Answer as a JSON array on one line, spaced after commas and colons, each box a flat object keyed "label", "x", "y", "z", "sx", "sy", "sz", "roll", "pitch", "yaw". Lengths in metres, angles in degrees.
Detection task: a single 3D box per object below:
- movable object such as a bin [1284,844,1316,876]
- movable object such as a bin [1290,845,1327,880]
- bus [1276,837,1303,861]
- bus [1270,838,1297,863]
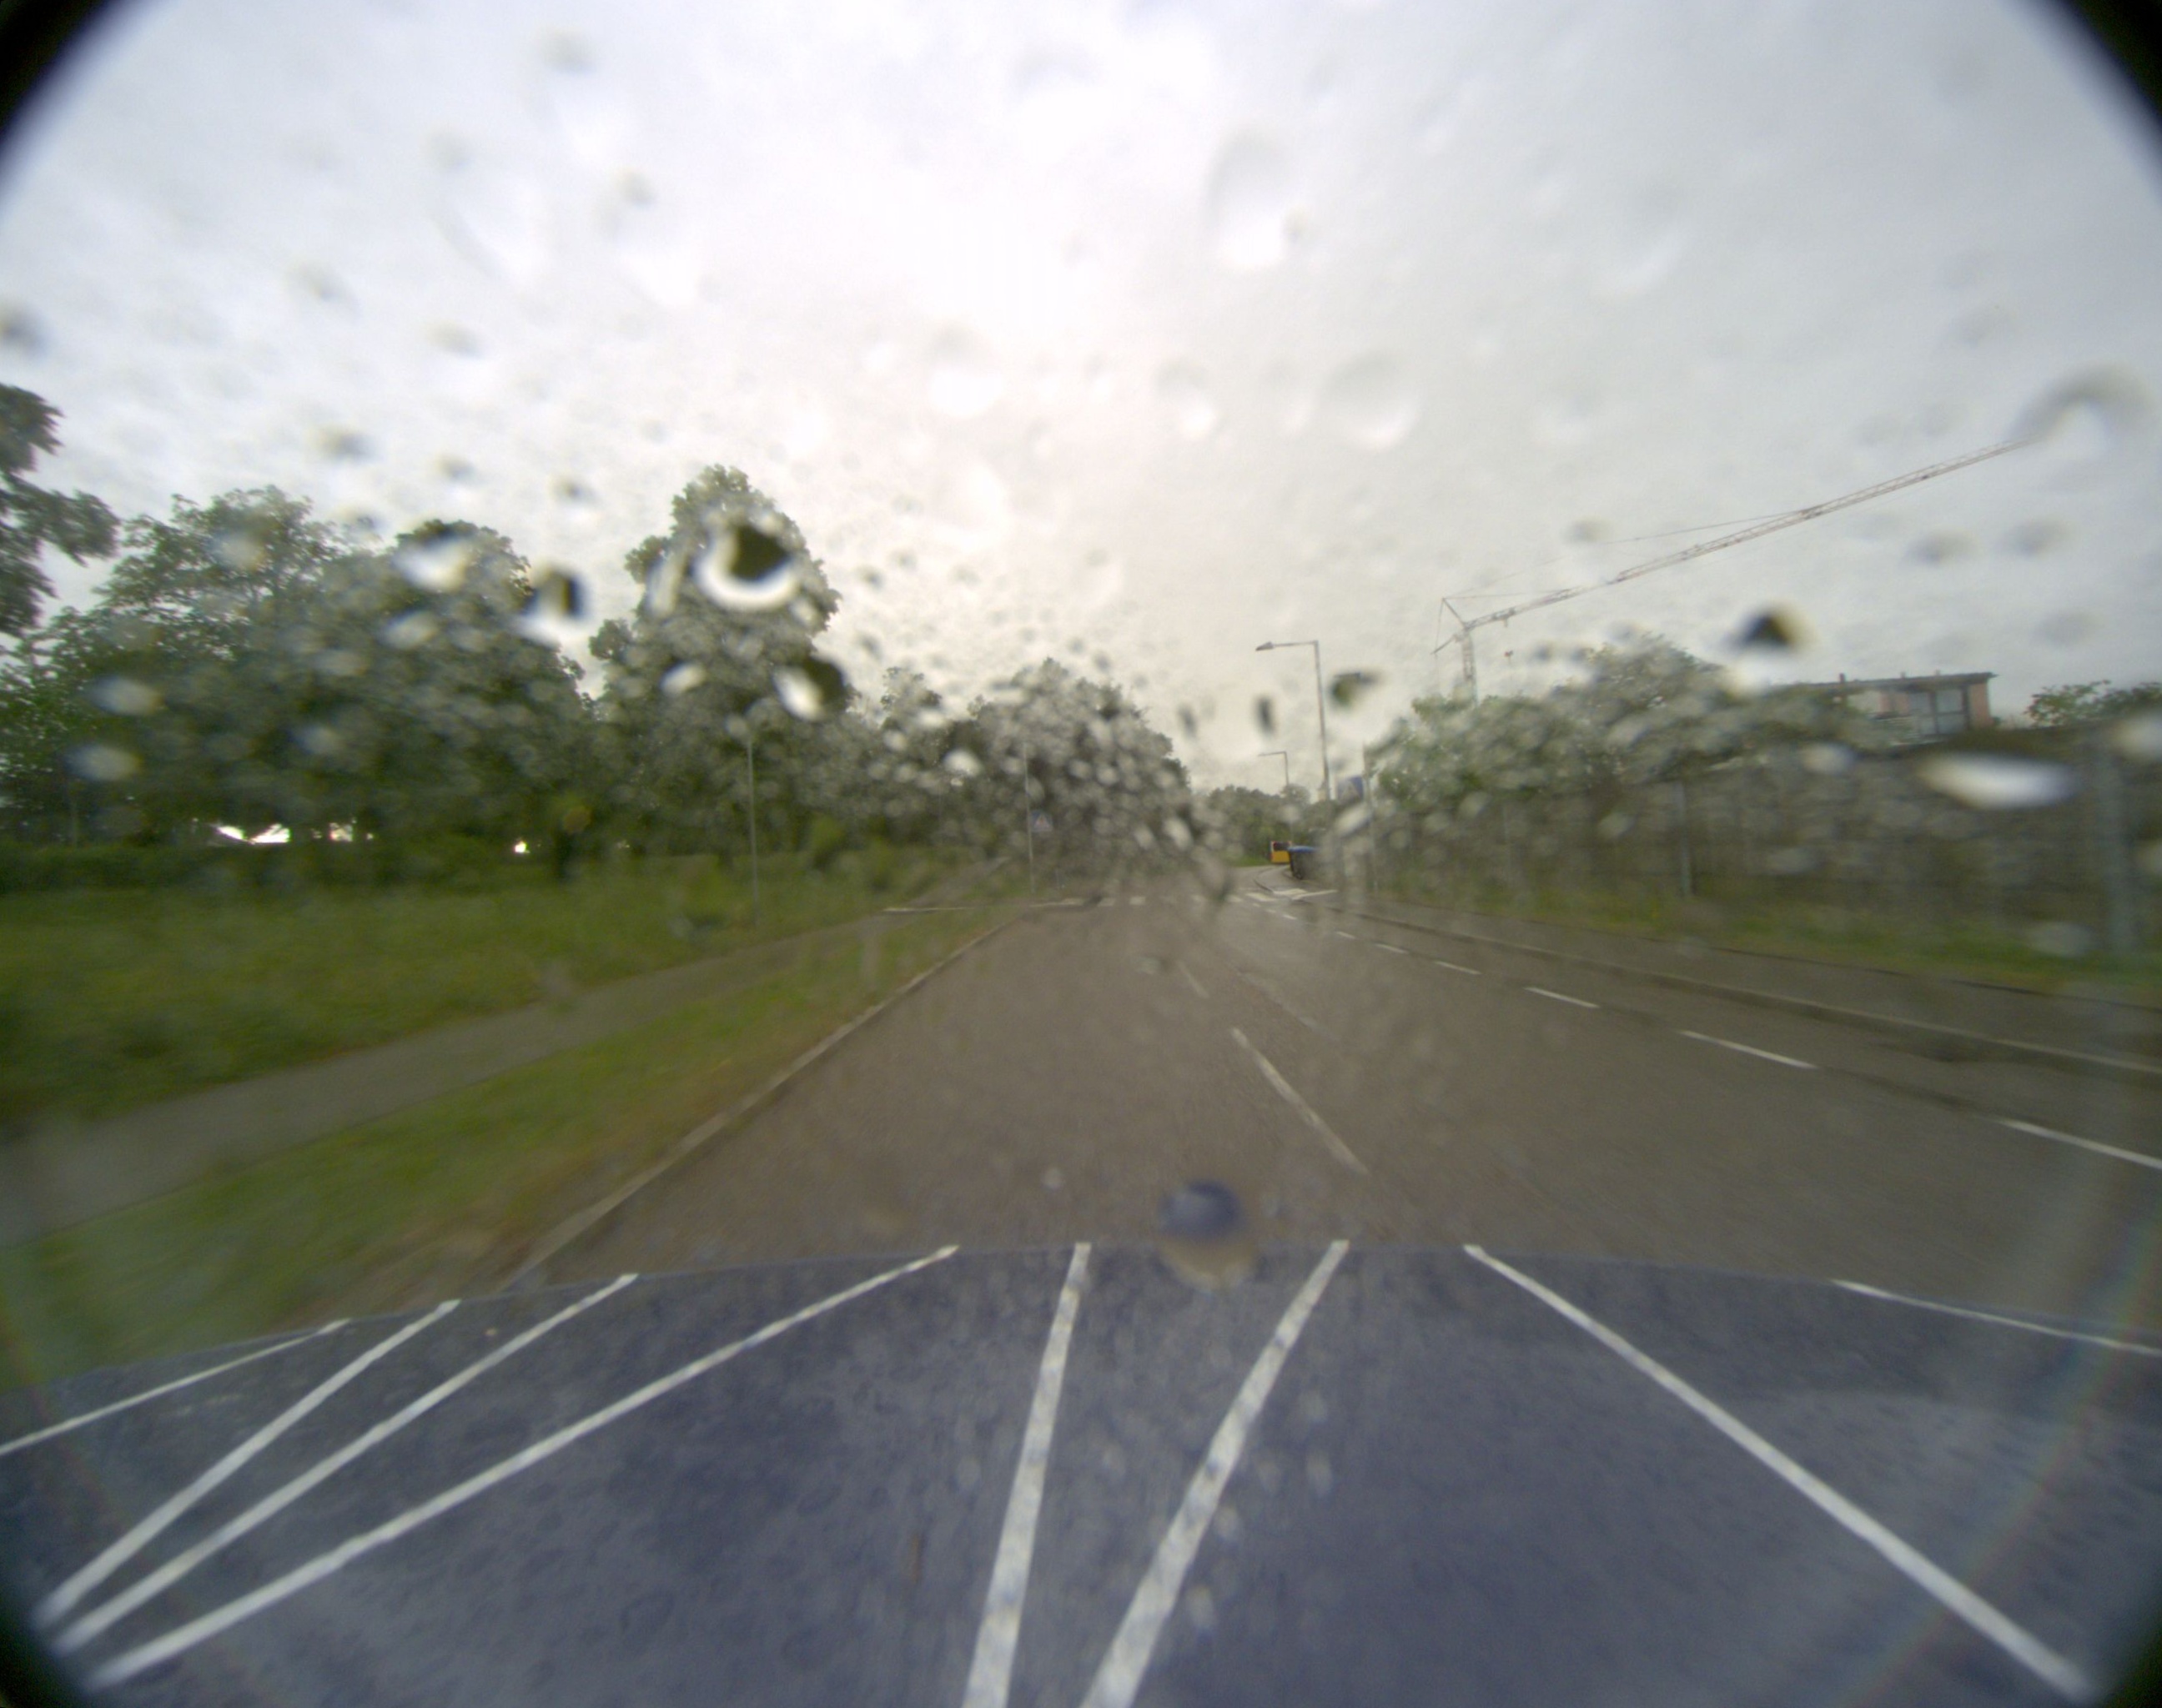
[{"label": "movable object such as a bin", "x": 10.012, "y": 0.275, "z": 34.839, "sx": 1.133, "sy": 1.331, "sz": 1.399, "roll": -6, "pitch": -1, "yaw": 10}, {"label": "movable object such as a bin", "x": 9.387, "y": 0.351, "z": 31.420, "sx": 1.133, "sy": 1.314, "sz": 1.363, "roll": -7, "pitch": -1, "yaw": 9}, {"label": "bus", "x": 30.013, "y": -0.792, "z": 108.931, "sx": 2.643, "sy": 3.050, "sz": 10.867, "roll": -3, "pitch": 1, "yaw": 20}, {"label": "bus", "x": 26.789, "y": -0.490, "z": 100.261, "sx": 2.643, "sy": 3.014, "sz": 7.676, "roll": -3, "pitch": 0, "yaw": 21}]
